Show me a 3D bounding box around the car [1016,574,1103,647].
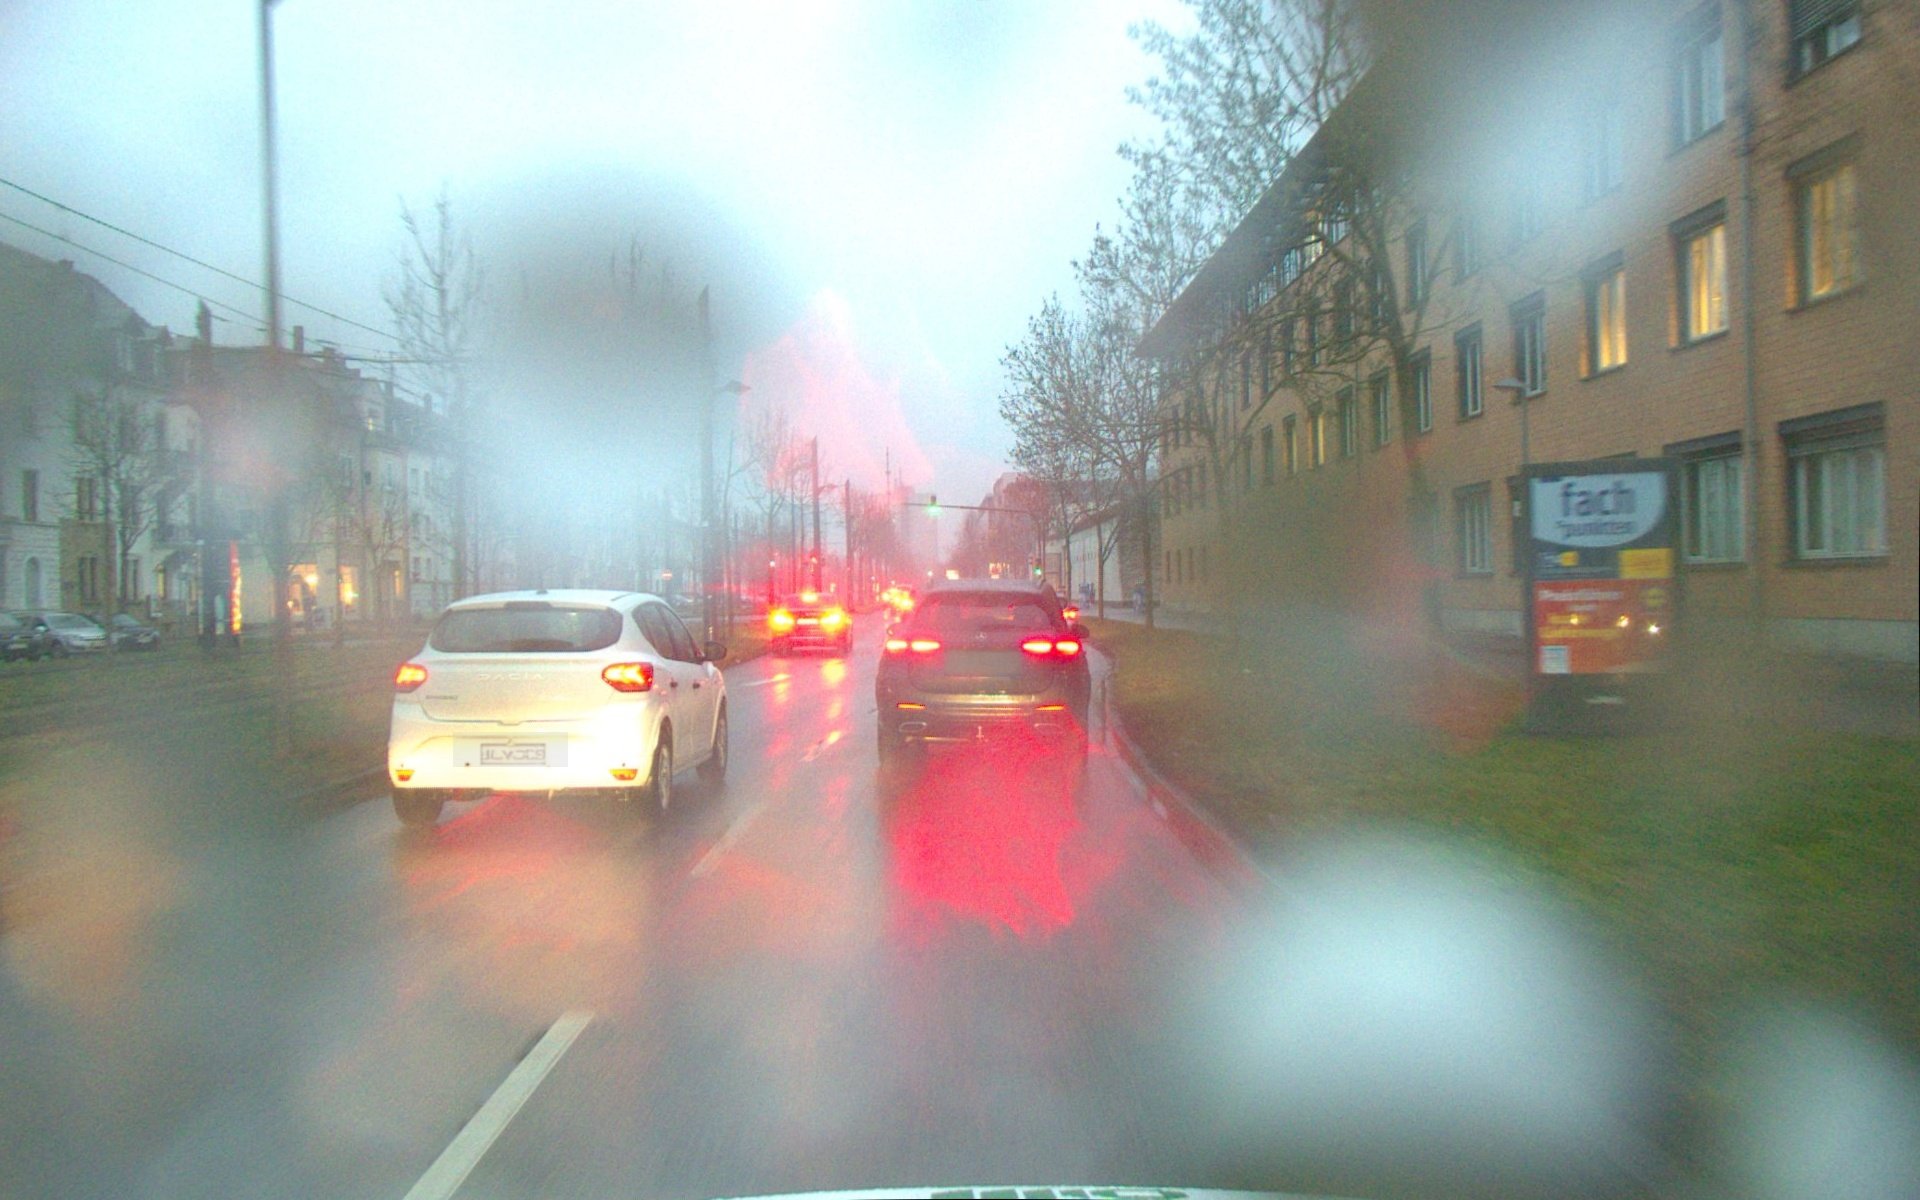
[{"bbox_3d":[2.550,0.254,43.174,1.953,1.774,3.999,-1,0,-1],"label":"car"}]

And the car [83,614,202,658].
[{"bbox_3d":[-27.387,1.216,55.373,3.921,1.355,1.992,-2,0,37],"label":"car"}]

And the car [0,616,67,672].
[{"bbox_3d":[-28.370,1.307,48.729,3.916,1.512,1.994,-2,0,34],"label":"car"}]

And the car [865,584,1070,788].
[{"bbox_3d":[0.041,0.680,15.316,1.638,1.628,4.053,0,0,-1],"label":"car"}]

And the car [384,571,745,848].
[{"bbox_3d":[-2.611,0.641,11.847,1.638,1.628,4.053,0,0,-1],"label":"car"}]

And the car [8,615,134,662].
[{"bbox_3d":[-27.880,1.210,51.837,3.921,1.355,1.992,-2,0,37],"label":"car"}]

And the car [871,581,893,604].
[{"bbox_3d":[-7.295,-0.729,154.665,1.779,2.049,4.000,-2,0,0],"label":"car"}]

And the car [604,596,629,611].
[{"bbox_3d":[-32.741,0.326,157.823,1.740,1.377,3.556,-2,1,-2],"label":"car"}]

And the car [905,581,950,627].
[{"bbox_3d":[-1.205,0.133,61.933,1.638,1.628,4.053,0,0,-1],"label":"car"}]

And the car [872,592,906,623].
[{"bbox_3d":[-4.410,0.441,103.087,1.901,1.870,4.000,-2,0,0],"label":"car"}]

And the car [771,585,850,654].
[{"bbox_3d":[-3.682,0.450,41.286,1.638,1.628,4.053,0,0,-1],"label":"car"}]
